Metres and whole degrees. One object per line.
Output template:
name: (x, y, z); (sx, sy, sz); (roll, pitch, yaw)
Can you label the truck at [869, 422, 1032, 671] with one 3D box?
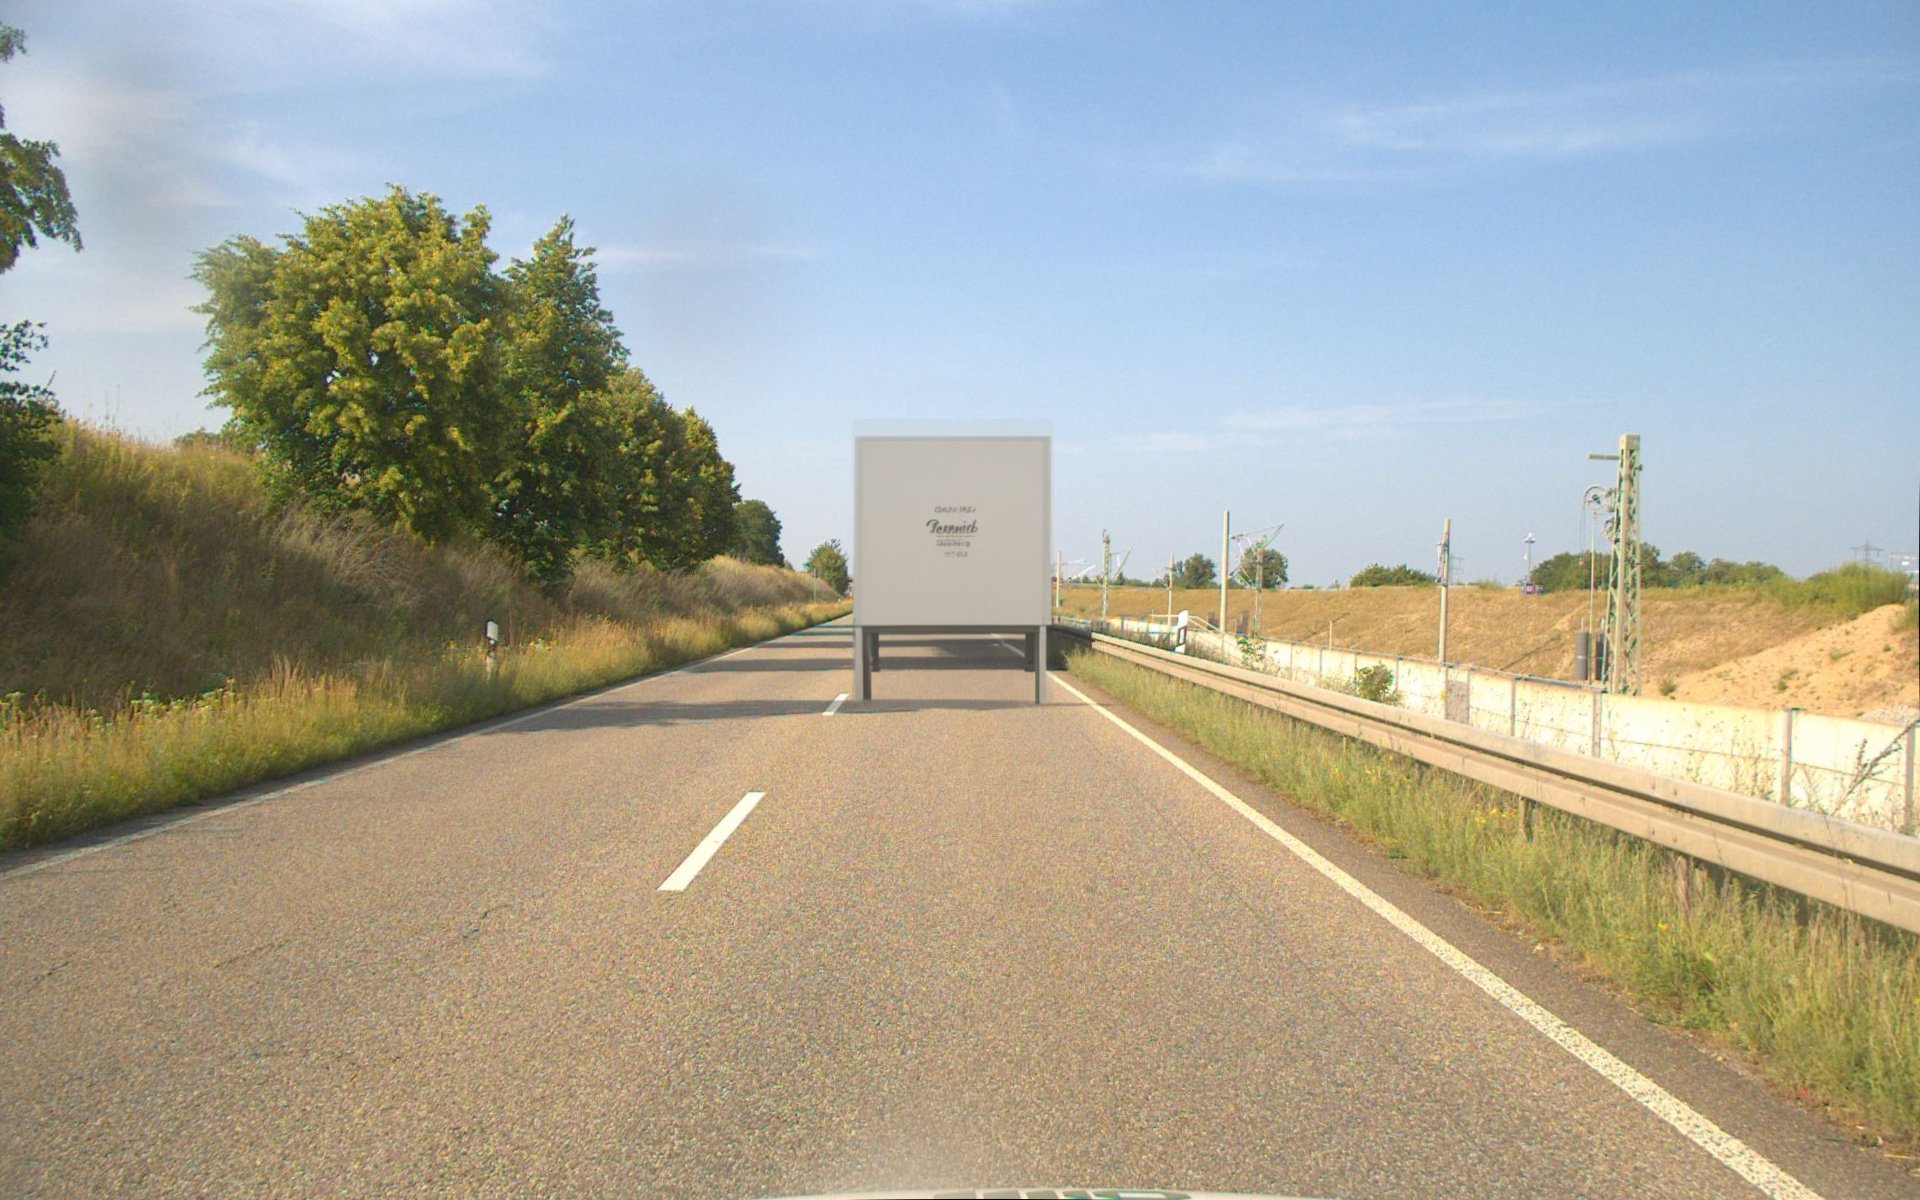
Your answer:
truck: (-0.163, -1.060, 36.036); (3.088, 4.770, 8.441); (0, 0, 0)
